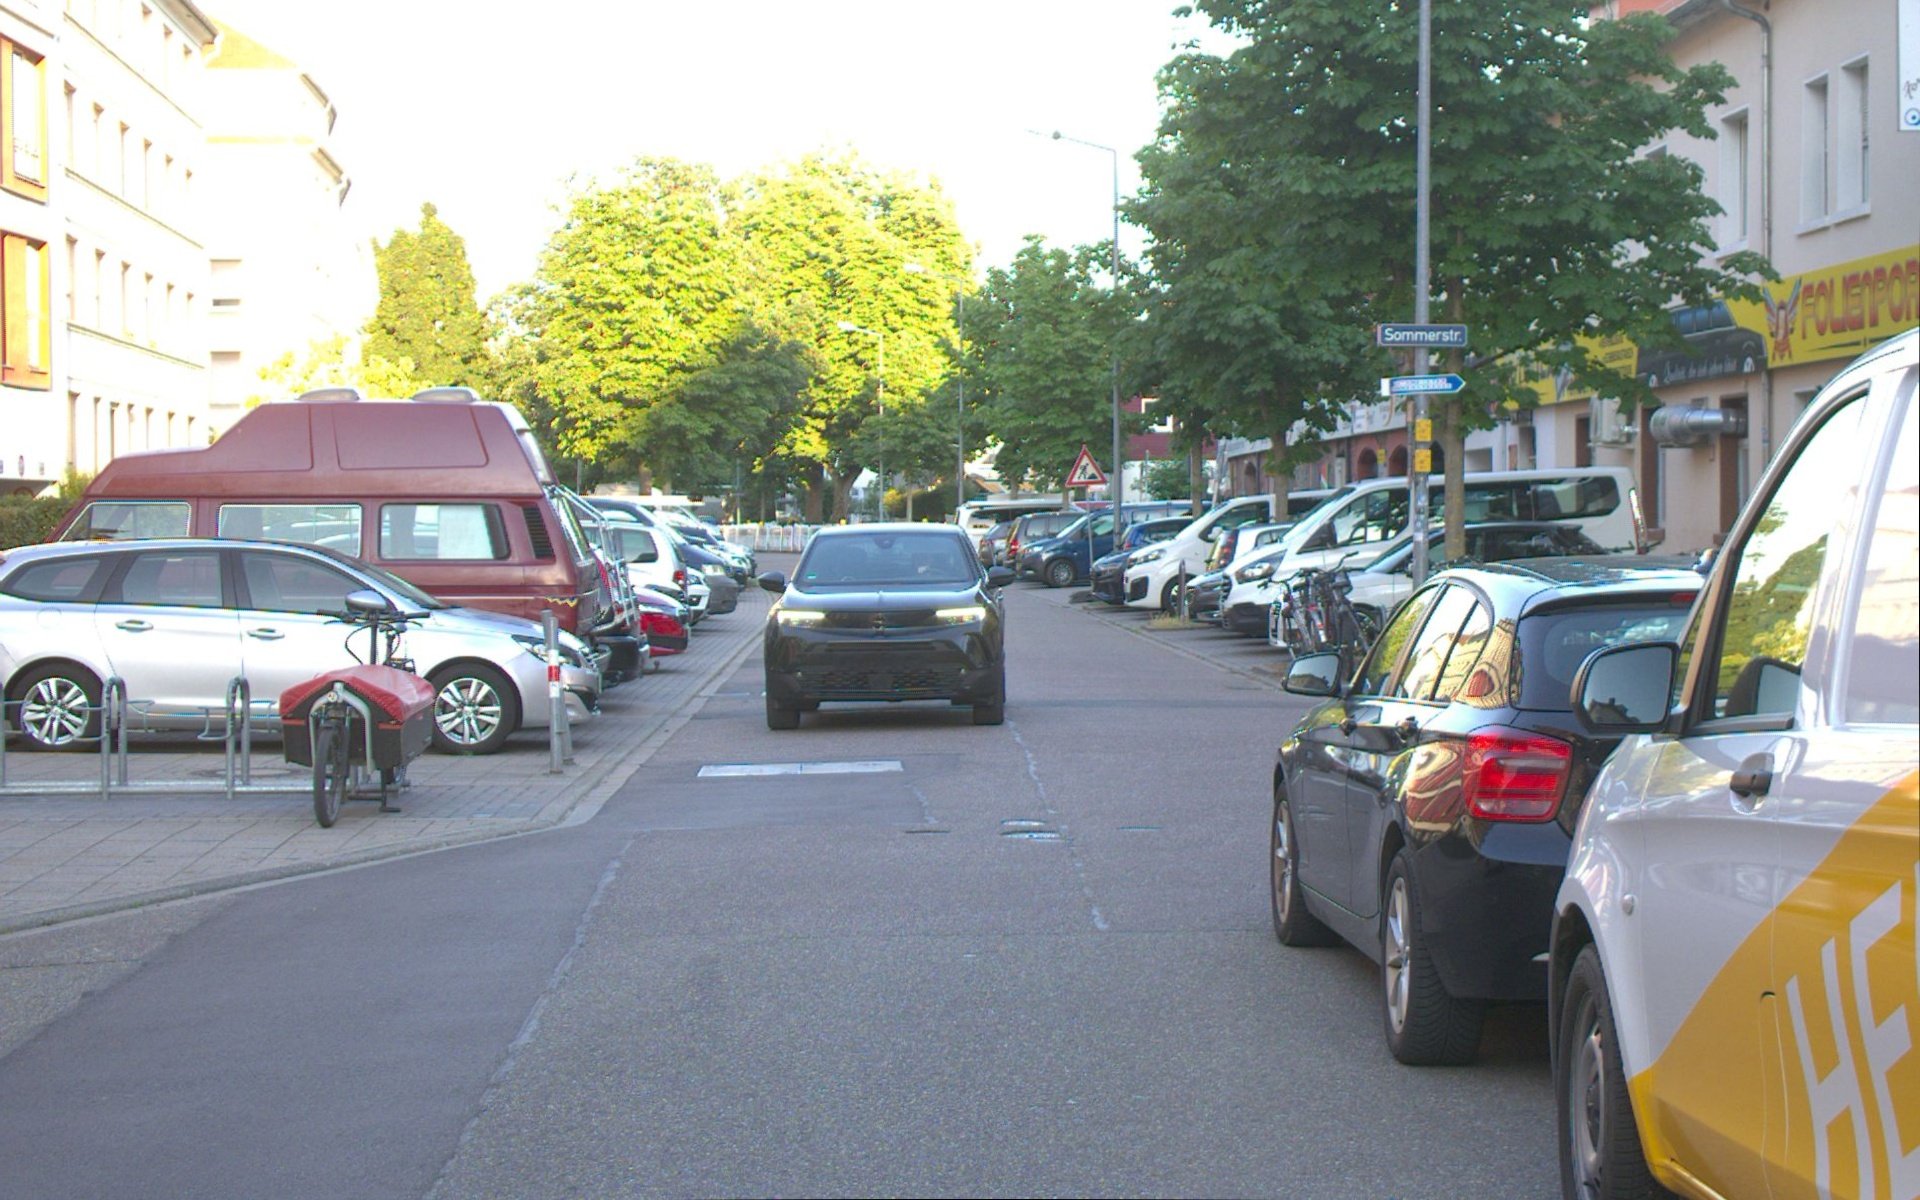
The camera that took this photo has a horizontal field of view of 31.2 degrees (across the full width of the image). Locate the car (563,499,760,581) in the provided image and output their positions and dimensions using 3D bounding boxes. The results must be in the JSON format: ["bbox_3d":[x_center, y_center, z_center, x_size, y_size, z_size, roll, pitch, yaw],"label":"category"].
[{"bbox_3d":[-6.676,-1.362,77.234,4.256,1.743,2.000,1,1,-1],"label":"car"}]

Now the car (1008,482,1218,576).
[{"bbox_3d":[3.428,-1.611,77.592,4.478,1.905,1.688,-2,1,-5],"label":"car"}]

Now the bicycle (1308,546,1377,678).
[{"bbox_3d":[3.669,0.099,33.085,0.386,1.196,2.017,-2,2,-1],"label":"bicycle"}]

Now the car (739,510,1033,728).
[{"bbox_3d":[-0.491,0.088,26.621,1.780,1.512,3.999,-1,1,6],"label":"car"}]

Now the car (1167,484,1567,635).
[{"bbox_3d":[5.293,-0.547,45.183,4.944,1.736,2.049,-2,1,0],"label":"car"}]

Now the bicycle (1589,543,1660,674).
[{"bbox_3d":[6.359,0.065,32.935,0.353,1.196,1.481,-2,2,-1],"label":"bicycle"}]

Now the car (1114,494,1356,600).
[{"bbox_3d":[5.171,-1.016,65.040,4.316,1.798,1.811,-2,1,-2],"label":"car"}]

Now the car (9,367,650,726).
[{"bbox_3d":[-4.756,-0.423,26.402,4.511,2.575,2.000,1,1,1],"label":"car"}]

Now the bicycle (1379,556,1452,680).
[{"bbox_3d":[4.381,0.156,33.125,0.386,1.110,2.017,-2,2,-1],"label":"bicycle"}]

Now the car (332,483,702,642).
[{"bbox_3d":[-5.356,-0.475,42.000,4.256,1.829,2.000,1,1,-1],"label":"car"}]

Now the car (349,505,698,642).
[{"bbox_3d":[-5.592,-0.365,44.474,4.256,1.654,2.000,1,1,-1],"label":"car"}]

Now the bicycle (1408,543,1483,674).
[{"bbox_3d":[4.665,0.062,33.111,0.386,1.196,2.017,-2,2,-1],"label":"bicycle"}]

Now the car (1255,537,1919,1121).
[{"bbox_3d":[2.028,0.546,10.812,1.721,1.419,4.254,1,2,-1],"label":"car"}]

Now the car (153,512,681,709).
[{"bbox_3d":[-4.506,0.068,28.986,4.208,1.532,1.791,1,1,-3],"label":"car"}]

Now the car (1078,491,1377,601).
[{"bbox_3d":[4.643,-0.957,60.129,4.943,1.683,2.077,-2,1,-2],"label":"car"}]

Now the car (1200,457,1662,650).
[{"bbox_3d":[5.411,-0.558,40.029,4.990,1.976,2.220,-2,1,0],"label":"car"}]

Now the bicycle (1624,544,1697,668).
[{"bbox_3d":[6.718,0.047,33.018,0.353,1.139,1.481,-2,2,-1],"label":"bicycle"}]

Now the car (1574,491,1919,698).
[{"bbox_3d":[7.215,-0.086,28.088,4.050,1.509,1.756,-2,3,0],"label":"car"}]

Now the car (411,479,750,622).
[{"bbox_3d":[-5.624,-0.753,51.378,4.850,2.014,1.907,1,1,-1],"label":"car"}]

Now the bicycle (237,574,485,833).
[{"bbox_3d":[-3.185,0.506,18.560,0.808,1.217,2.865,1,2,0],"label":"bicycle"}]

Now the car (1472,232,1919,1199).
[{"bbox_3d":[2.175,0.443,5.223,1.893,1.877,5.083,0,2,-2],"label":"car"}]

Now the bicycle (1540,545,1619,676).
[{"bbox_3d":[5.930,0.084,32.942,0.445,1.196,1.481,-2,2,-1],"label":"bicycle"}]

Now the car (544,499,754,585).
[{"bbox_3d":[-6.522,-1.236,72.464,4.256,1.709,2.000,1,1,-1],"label":"car"}]

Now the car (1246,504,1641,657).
[{"bbox_3d":[5.198,-0.228,37.248,3.918,1.446,1.769,-3,2,-3],"label":"car"}]

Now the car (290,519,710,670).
[{"bbox_3d":[-4.836,-0.079,36.591,4.209,1.484,1.850,1,1,0],"label":"car"}]

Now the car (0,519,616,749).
[{"bbox_3d":[-4.738,0.209,23.839,4.615,1.455,1.881,1,1,-4],"label":"car"}]

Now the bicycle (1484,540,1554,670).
[{"bbox_3d":[5.349,0.034,32.968,0.386,1.196,1.481,-2,2,-1],"label":"bicycle"}]

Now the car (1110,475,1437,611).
[{"bbox_3d":[5.002,-0.925,55.326,4.943,1.951,2.049,-2,1,-2],"label":"car"}]

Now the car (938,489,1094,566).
[{"bbox_3d":[1.499,-1.964,93.169,3.967,1.905,2.050,-2,1,-5],"label":"car"}]

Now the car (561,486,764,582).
[{"bbox_3d":[-6.879,-1.535,79.866,4.533,2.127,2.000,1,1,-1],"label":"car"}]

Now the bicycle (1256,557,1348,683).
[{"bbox_3d":[3.256,0.173,32.897,0.438,1.126,2.018,-2,2,-6],"label":"bicycle"}]

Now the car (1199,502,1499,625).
[{"bbox_3d":[5.396,-0.522,48.011,3.911,1.521,1.939,-2,1,0],"label":"car"}]

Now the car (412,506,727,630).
[{"bbox_3d":[-5.499,-0.471,48.830,4.256,1.646,1.888,1,1,-1],"label":"car"}]

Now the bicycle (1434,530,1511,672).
[{"bbox_3d":[4.925,-0.012,33.121,0.386,1.300,2.017,-2,2,-1],"label":"bicycle"}]

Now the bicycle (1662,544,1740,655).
[{"bbox_3d":[7.121,-0.015,33.065,0.387,1.013,1.481,-2,2,-1],"label":"bicycle"}]
